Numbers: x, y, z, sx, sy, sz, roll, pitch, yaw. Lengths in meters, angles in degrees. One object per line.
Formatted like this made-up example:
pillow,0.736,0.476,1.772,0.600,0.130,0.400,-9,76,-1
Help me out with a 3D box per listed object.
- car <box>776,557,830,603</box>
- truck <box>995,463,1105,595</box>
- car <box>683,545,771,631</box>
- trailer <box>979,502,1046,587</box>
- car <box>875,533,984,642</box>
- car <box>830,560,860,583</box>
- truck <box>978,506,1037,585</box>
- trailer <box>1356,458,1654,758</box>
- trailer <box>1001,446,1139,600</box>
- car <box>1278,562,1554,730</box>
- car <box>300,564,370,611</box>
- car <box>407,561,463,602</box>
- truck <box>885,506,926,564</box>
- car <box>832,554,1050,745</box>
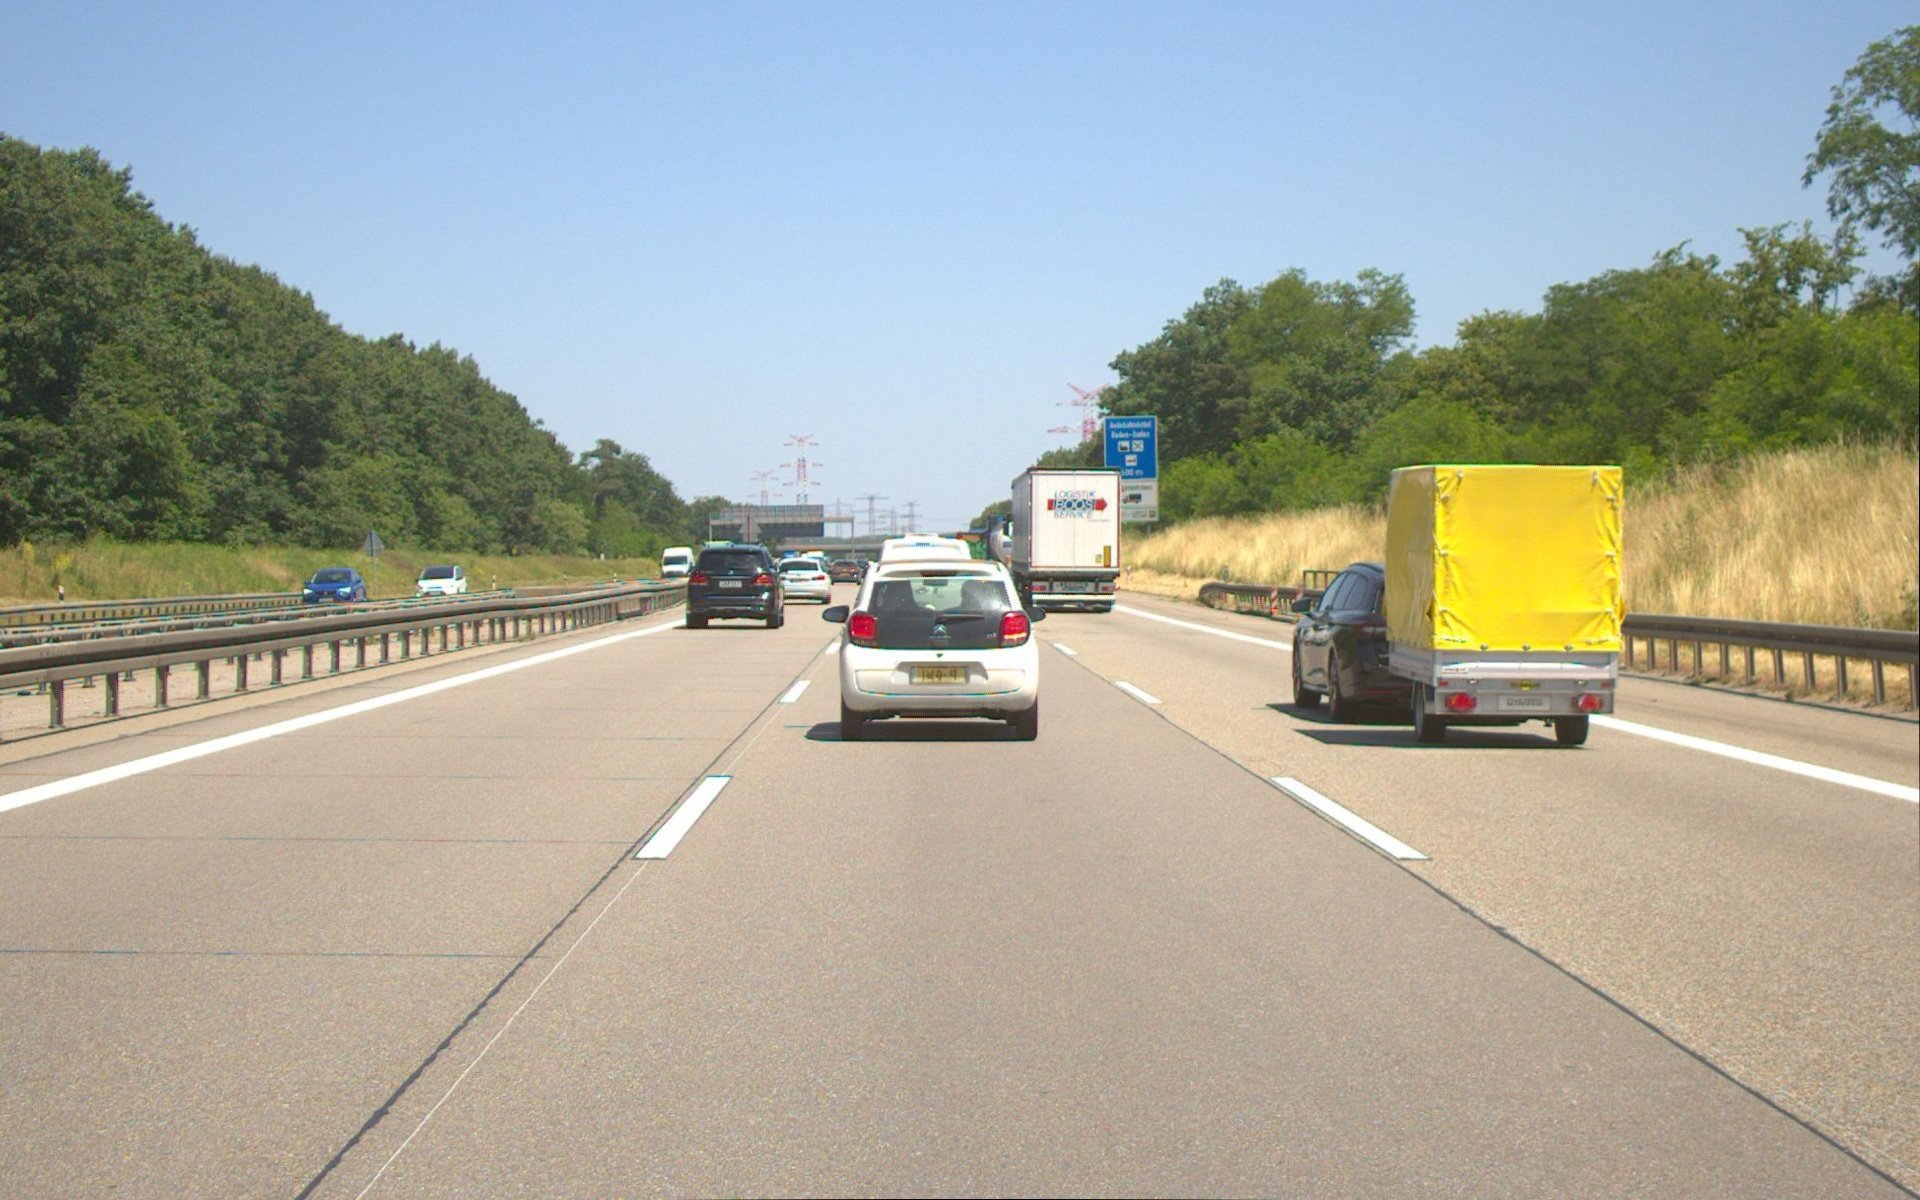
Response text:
car,-4.954,-0.644,108.853,1.669,1.396,3.713,0,1,-2
truck,2.920,-2.316,113.795,3.285,4.205,6.008,1,0,-1
car,-4.858,-0.267,72.090,1.626,1.749,3.805,1,1,-1
trailer,2.458,-2.590,163.579,2.682,3.824,12.011,1,0,-1
car,-0.564,-0.230,59.930,1.814,1.821,5.111,0,0,-1
car,-6.521,-1.630,195.519,1.607,1.296,3.674,1,1,-1
truck,2.344,-2.658,169.272,2.682,3.824,4.444,1,0,-1
trailer,4.404,0.041,28.295,1.703,2.282,3.840,1,1,-2
trailer,3.120,-2.167,101.488,3.285,4.205,13.566,1,0,-1
car,4.234,0.379,32.623,1.821,1.451,4.789,1,1,-2
car,-22.480,-0.460,123.834,1.702,1.540,4.535,-3,1,-1
car,-23.292,-0.839,152.657,1.702,1.655,5.117,-3,1,-1
truck,-2.788,-3.288,175.117,2.060,2.904,7.003,0,0,-1
car,-0.176,0.366,29.167,1.708,1.490,4.024,1,1,-1
